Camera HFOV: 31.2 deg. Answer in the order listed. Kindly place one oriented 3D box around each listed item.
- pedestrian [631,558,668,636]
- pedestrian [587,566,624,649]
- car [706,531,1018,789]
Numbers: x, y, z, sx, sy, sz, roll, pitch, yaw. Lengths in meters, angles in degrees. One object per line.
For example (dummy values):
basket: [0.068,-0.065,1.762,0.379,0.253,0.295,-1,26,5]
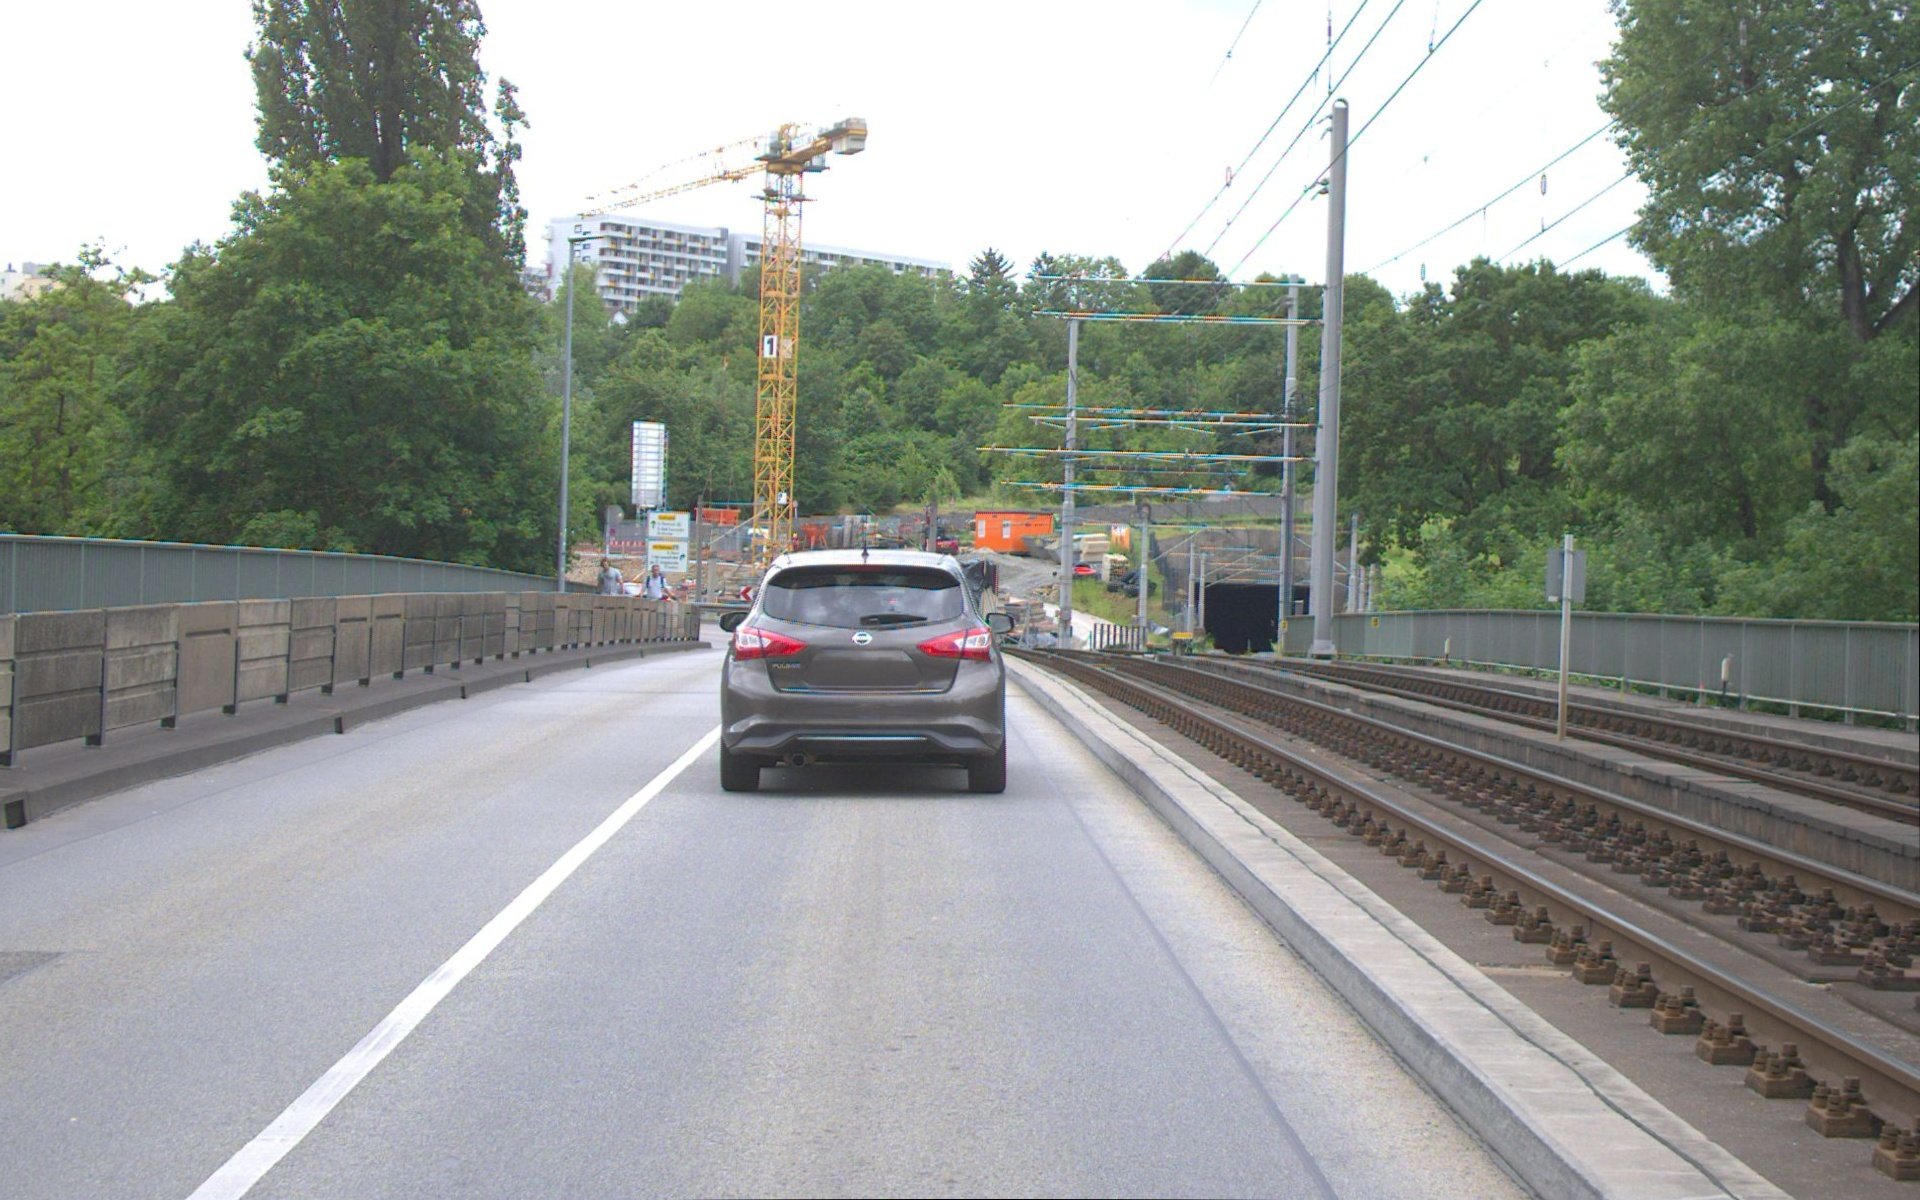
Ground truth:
pedestrian: [-6.842,-0.067,75.845,0.721,1.695,0.723,1,0,-1]
pedestrian: [-7.918,0.163,76.798,0.721,1.833,0.723,1,0,-1]
car: [-0.728,0.371,22.472,1.829,1.505,4.000,1,0,-4]
